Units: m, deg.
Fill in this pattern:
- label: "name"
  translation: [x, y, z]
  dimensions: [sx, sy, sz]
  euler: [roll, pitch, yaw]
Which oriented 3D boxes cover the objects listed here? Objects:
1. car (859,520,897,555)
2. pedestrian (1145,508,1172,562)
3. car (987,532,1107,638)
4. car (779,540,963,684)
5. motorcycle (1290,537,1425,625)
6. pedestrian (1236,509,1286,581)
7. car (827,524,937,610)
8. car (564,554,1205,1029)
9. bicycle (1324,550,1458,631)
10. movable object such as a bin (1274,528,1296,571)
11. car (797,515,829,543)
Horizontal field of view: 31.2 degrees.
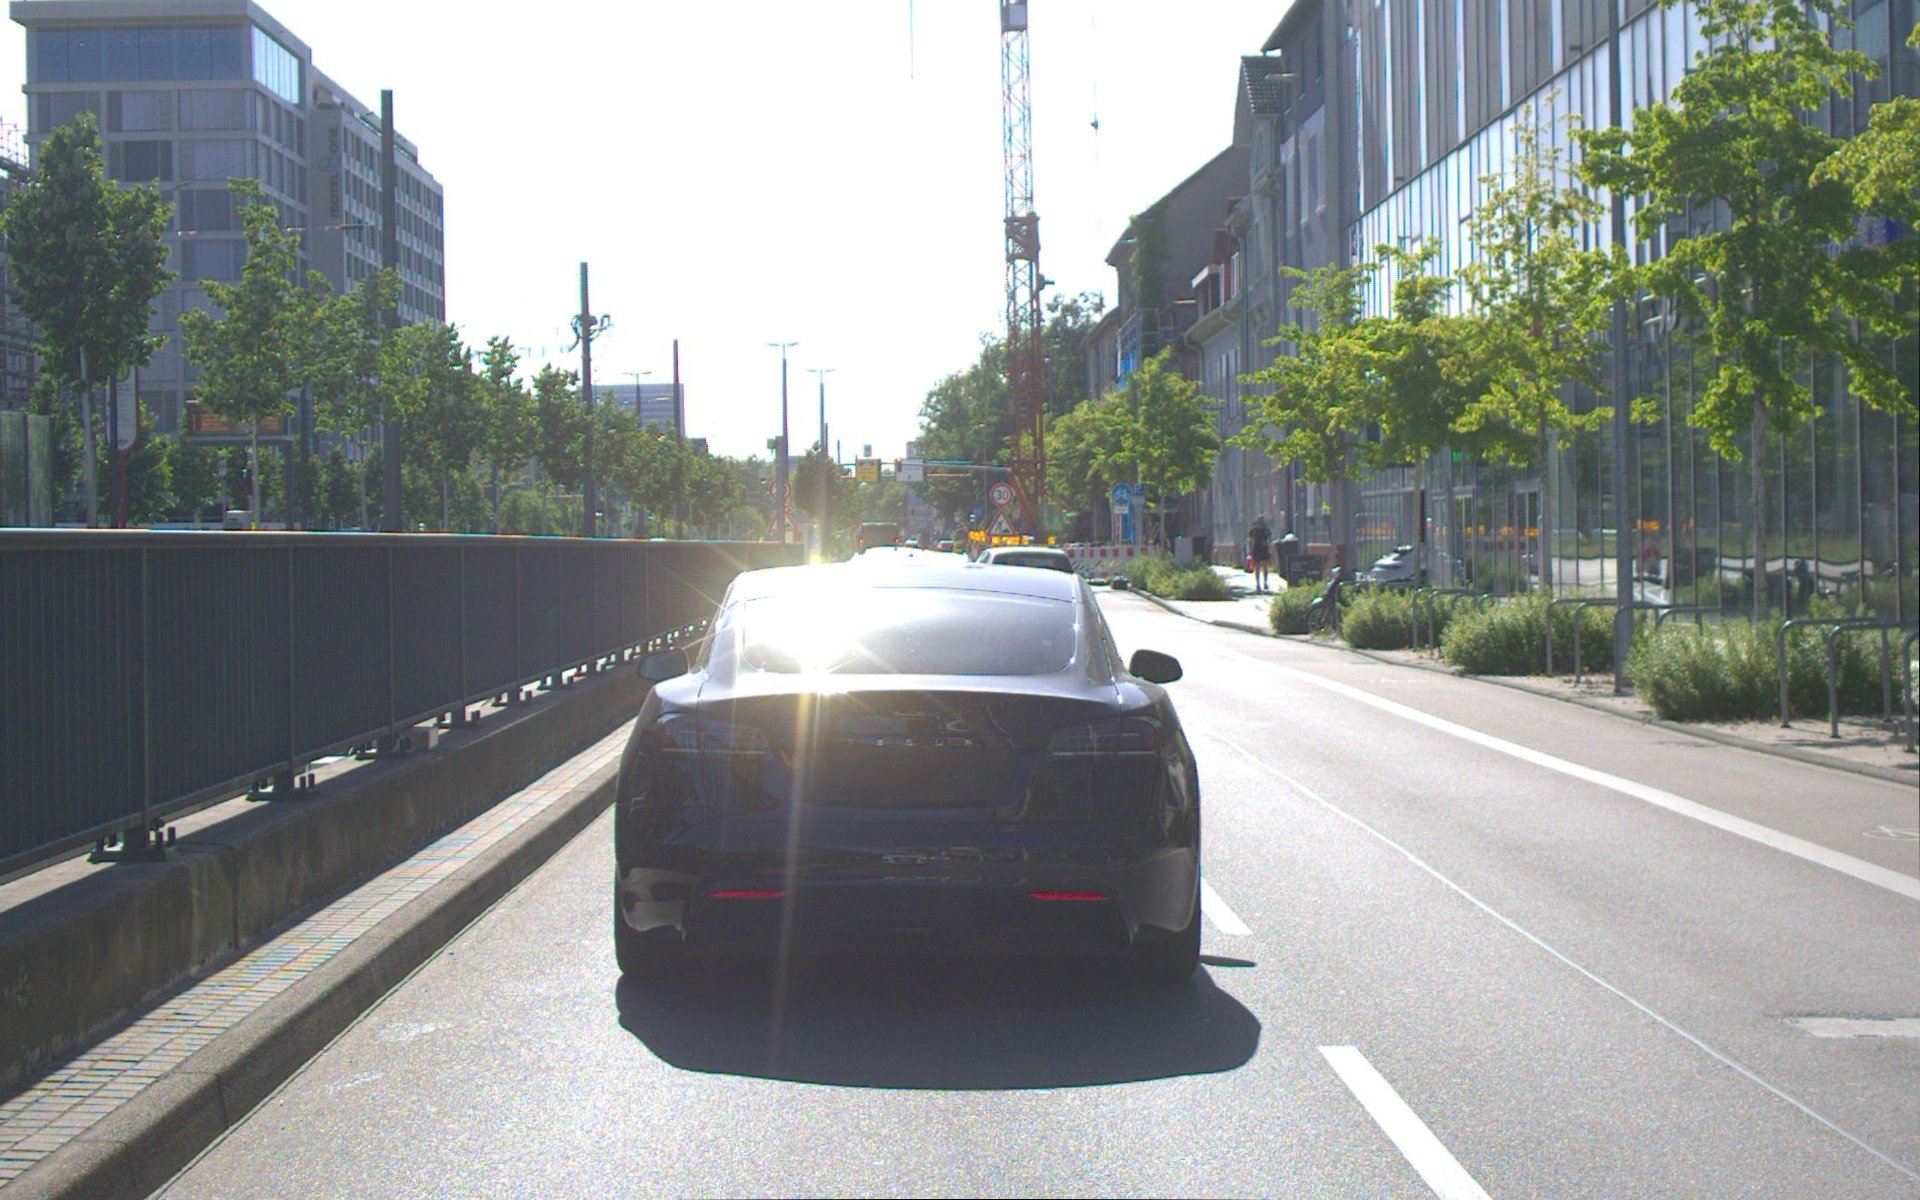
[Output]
- label: "car"
  translation: [-4.295, -3.272, 180.064]
  dimensions: [1.814, 1.803, 4.039]
  euler: [0, 2, 1]
- label: "pedestrian"
  translation: [7.030, -2.301, 121.603]
  dimensions: [0.851, 1.857, 0.930]
  euler: [-1, 1, -2]
- label: "car"
  translation: [1.333, -0.264, 53.657]
  dimensions: [1.784, 1.540, 4.039]
  euler: [0, 2, 1]
- label: "car"
  translation: [-0.843, 0.077, 34.651]
  dimensions: [1.716, 1.315, 4.000]
  euler: [0, 2, 0]
- label: "motorcycle"
  translation: [6.604, -0.318, 57.151]
  dimensions: [2.075, 1.349, 0.652]
  euler: [-3, 1, 23]
- label: "pedestrian"
  translation: [7.817, -1.436, 89.438]
  dimensions: [1.095, 1.857, 1.523]
  euler: [-1, 1, -2]
- label: "car"
  translation: [-1.504, -0.673, 67.760]
  dimensions: [1.888, 1.590, 4.000]
  euler: [-1, 2, 2]
- label: "car"
  translation: [-0.152, 0.563, 12.912]
  dimensions: [1.999, 1.429, 4.412]
  euler: [0, 1, 2]
- label: "bicycle"
  translation: [6.577, -0.153, 52.512]
  dimensions: [1.881, 1.147, 0.672]
  euler: [-3, 1, -10]
- label: "movable object such as a bin"
  translation: [8.909, -1.374, 94.315]
  dimensions: [0.559, 1.165, 0.562]
  euler: [1, 1, 3]
- label: "car"
  translation: [-9.276, -4.470, 217.254]
  dimensions: [1.993, 1.678, 4.000]
  euler: [1, 1, -2]
